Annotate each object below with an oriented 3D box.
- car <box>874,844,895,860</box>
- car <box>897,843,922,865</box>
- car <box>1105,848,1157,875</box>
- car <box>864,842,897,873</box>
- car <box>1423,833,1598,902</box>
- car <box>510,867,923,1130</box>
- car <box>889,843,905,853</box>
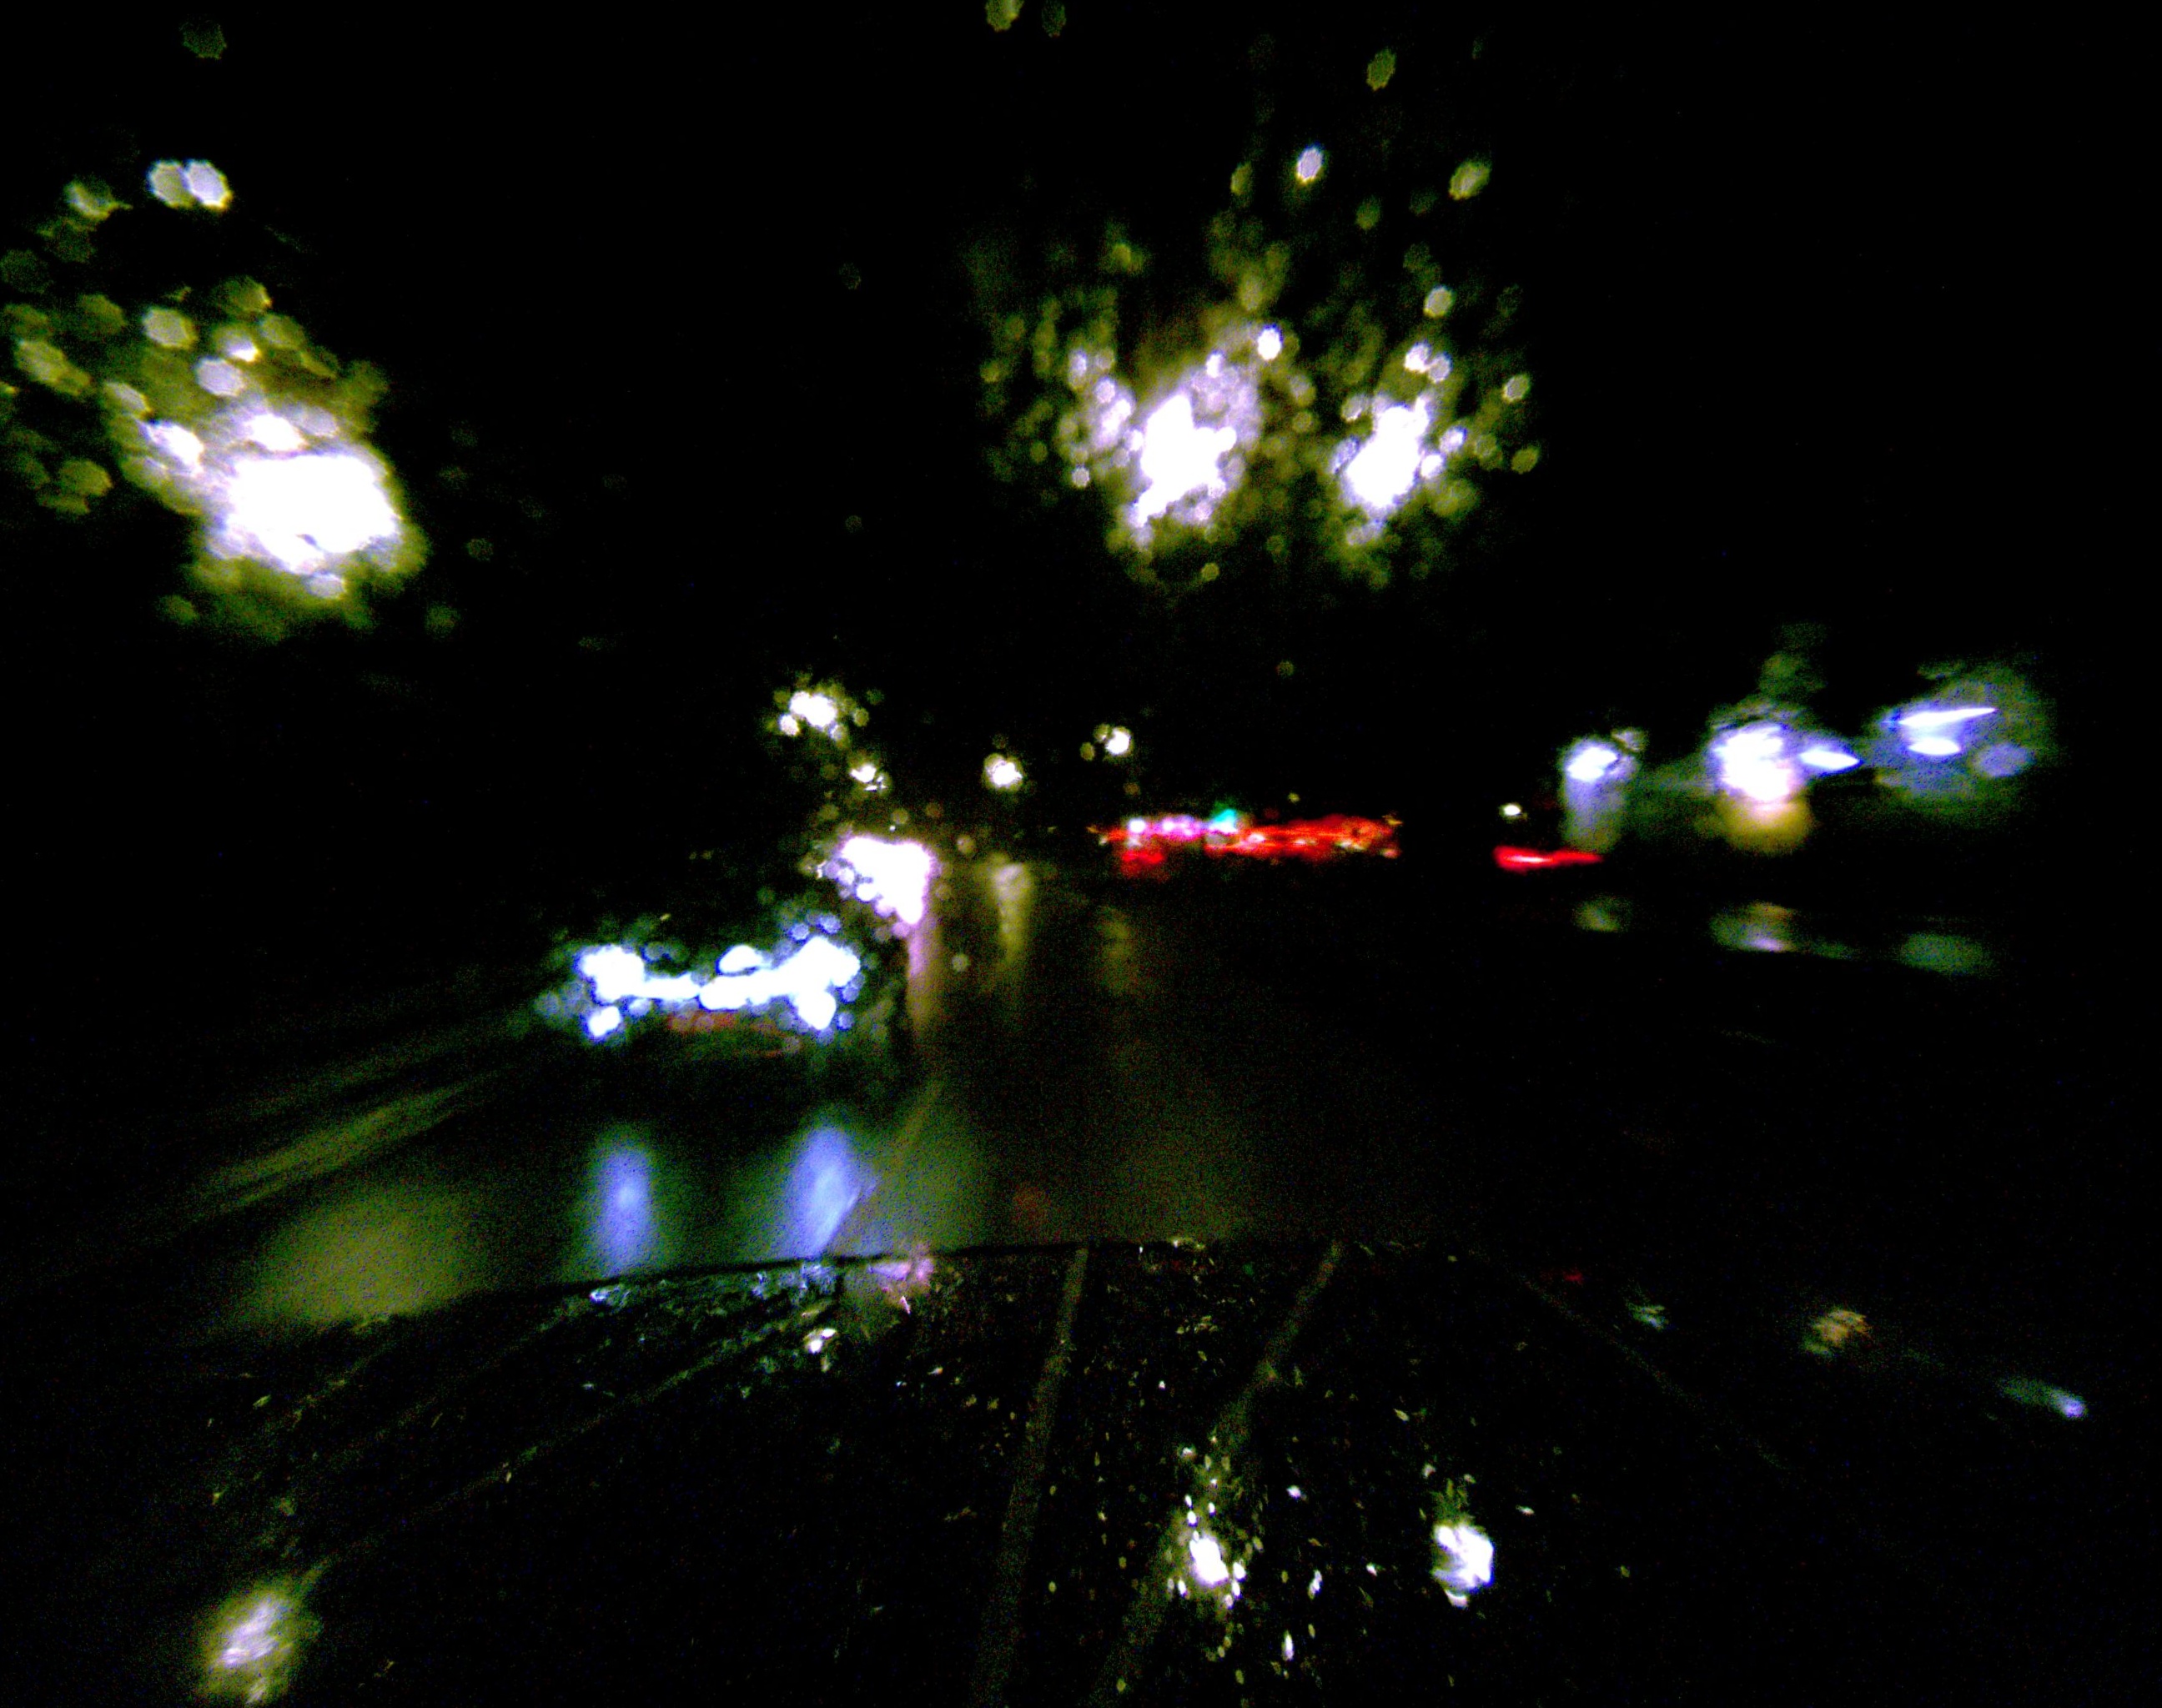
[{"bbox_3d":[-24.589,-0.201,95.016,2.002,1.922,3.993,2,-1,-20],"label":"car"},{"bbox_3d":[-16.106,-0.015,71.618,2.000,1.922,3.997,2,-1,-9],"label":"car"},{"bbox_3d":[2.875,0.422,44.534,1.873,1.455,4.634,1,1,-11],"label":"car"},{"bbox_3d":[-13.070,0.166,49.720,1.939,1.862,3.994,-2,2,-14],"label":"car"},{"bbox_3d":[10.916,0.306,19.681,2.000,1.585,3.997,-1,1,-6],"label":"car"},{"bbox_3d":[-2.800,0.977,7.010,1.999,1.515,3.998,-4,1,-4],"label":"car"},{"bbox_3d":[-28.740,-0.952,118.551,1.773,1.449,3.944,-3,3,-24],"label":"car"}]
